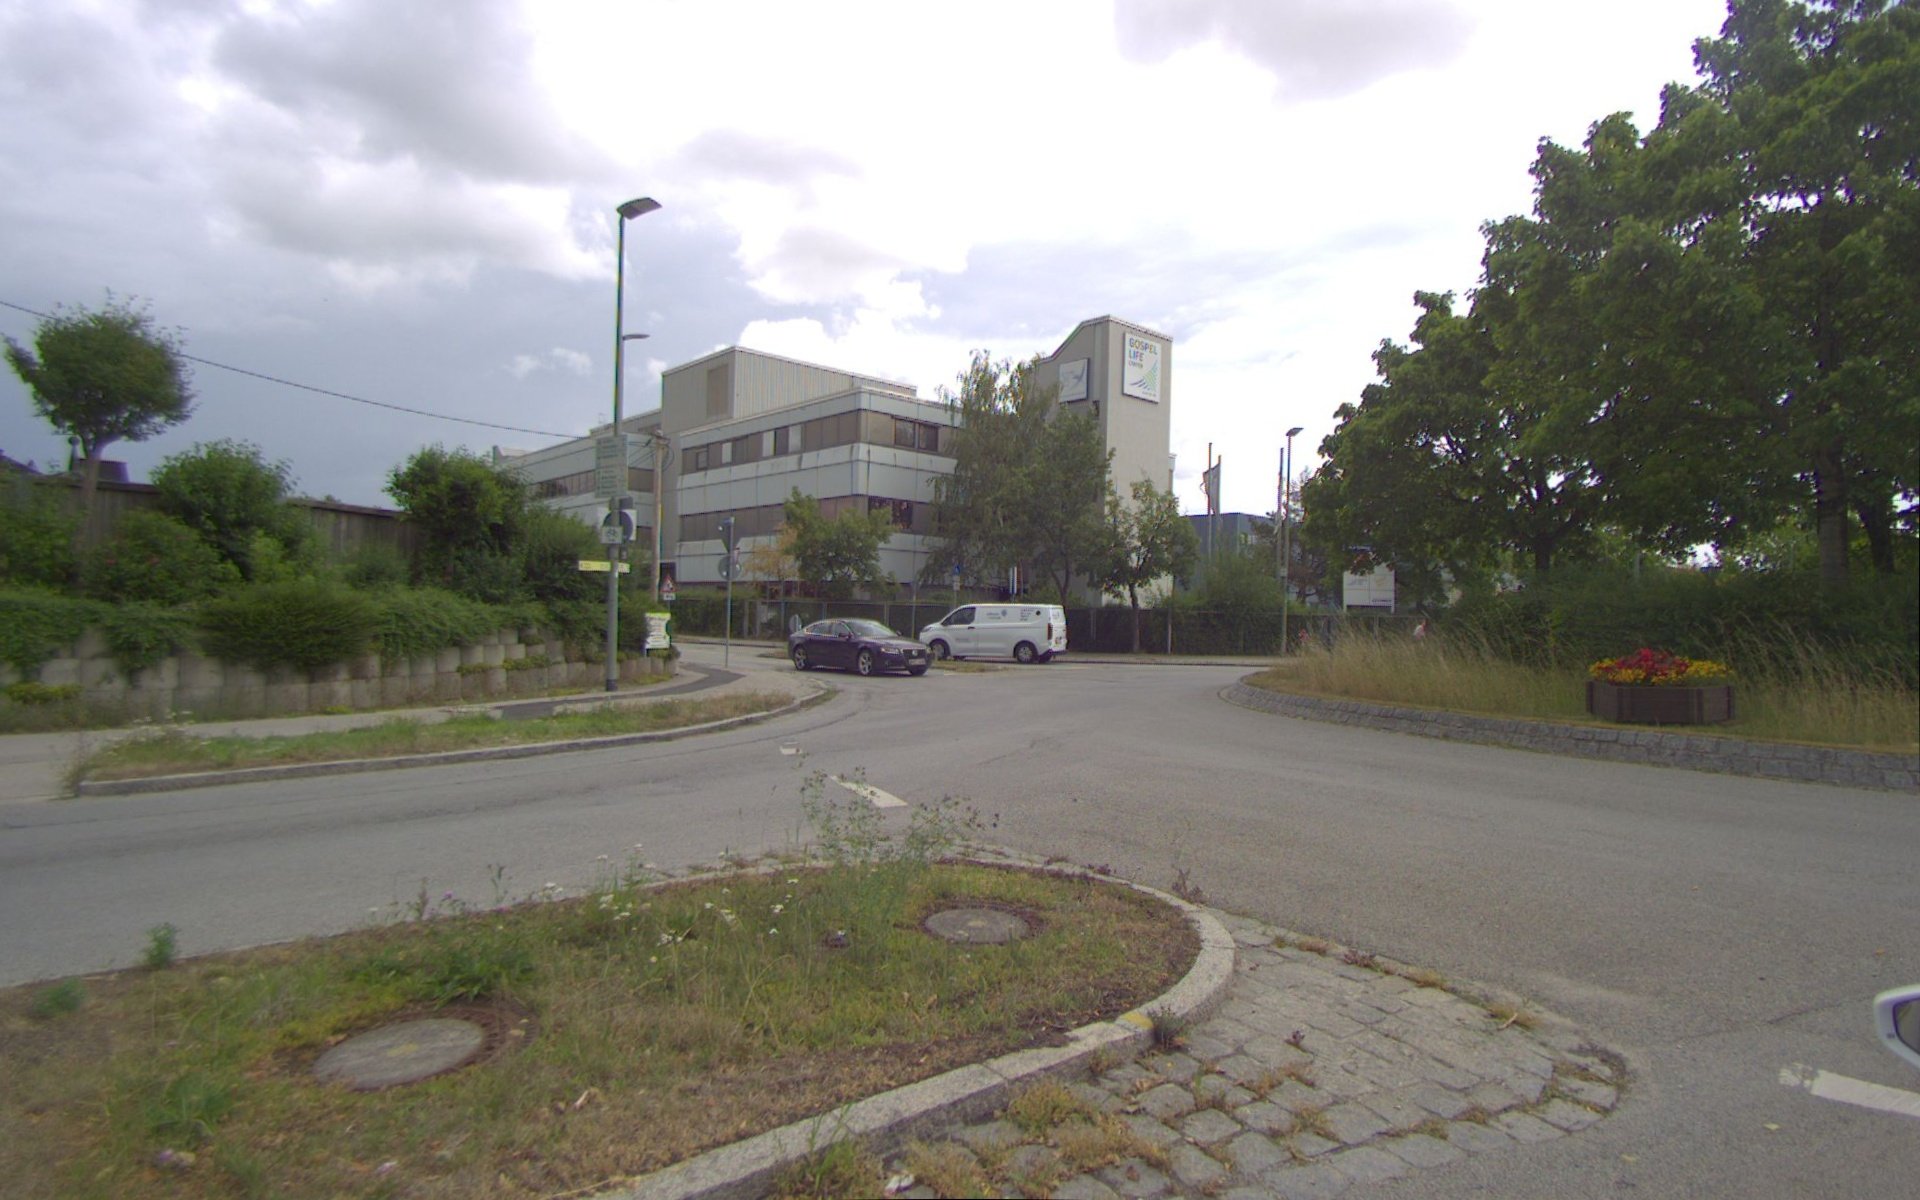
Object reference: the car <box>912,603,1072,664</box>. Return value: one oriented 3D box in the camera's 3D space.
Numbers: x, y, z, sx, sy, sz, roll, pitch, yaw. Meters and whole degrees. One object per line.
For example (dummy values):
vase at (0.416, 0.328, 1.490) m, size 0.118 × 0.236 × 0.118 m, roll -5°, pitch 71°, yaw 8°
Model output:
car at (1.071, 1.082, 33.725) m, size 4.973 × 1.930 × 2.000 m, roll 0°, pitch -1°, yaw 22°

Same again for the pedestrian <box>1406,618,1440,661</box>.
pedestrian at (16.364, 1.401, 35.504) m, size 0.935 × 1.488 × 0.629 m, roll 1°, pitch -1°, yaw -22°

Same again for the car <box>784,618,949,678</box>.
car at (-2.484, 1.170, 25.835) m, size 1.923 × 1.365 × 4.412 m, roll 1°, pitch -1°, yaw -44°
